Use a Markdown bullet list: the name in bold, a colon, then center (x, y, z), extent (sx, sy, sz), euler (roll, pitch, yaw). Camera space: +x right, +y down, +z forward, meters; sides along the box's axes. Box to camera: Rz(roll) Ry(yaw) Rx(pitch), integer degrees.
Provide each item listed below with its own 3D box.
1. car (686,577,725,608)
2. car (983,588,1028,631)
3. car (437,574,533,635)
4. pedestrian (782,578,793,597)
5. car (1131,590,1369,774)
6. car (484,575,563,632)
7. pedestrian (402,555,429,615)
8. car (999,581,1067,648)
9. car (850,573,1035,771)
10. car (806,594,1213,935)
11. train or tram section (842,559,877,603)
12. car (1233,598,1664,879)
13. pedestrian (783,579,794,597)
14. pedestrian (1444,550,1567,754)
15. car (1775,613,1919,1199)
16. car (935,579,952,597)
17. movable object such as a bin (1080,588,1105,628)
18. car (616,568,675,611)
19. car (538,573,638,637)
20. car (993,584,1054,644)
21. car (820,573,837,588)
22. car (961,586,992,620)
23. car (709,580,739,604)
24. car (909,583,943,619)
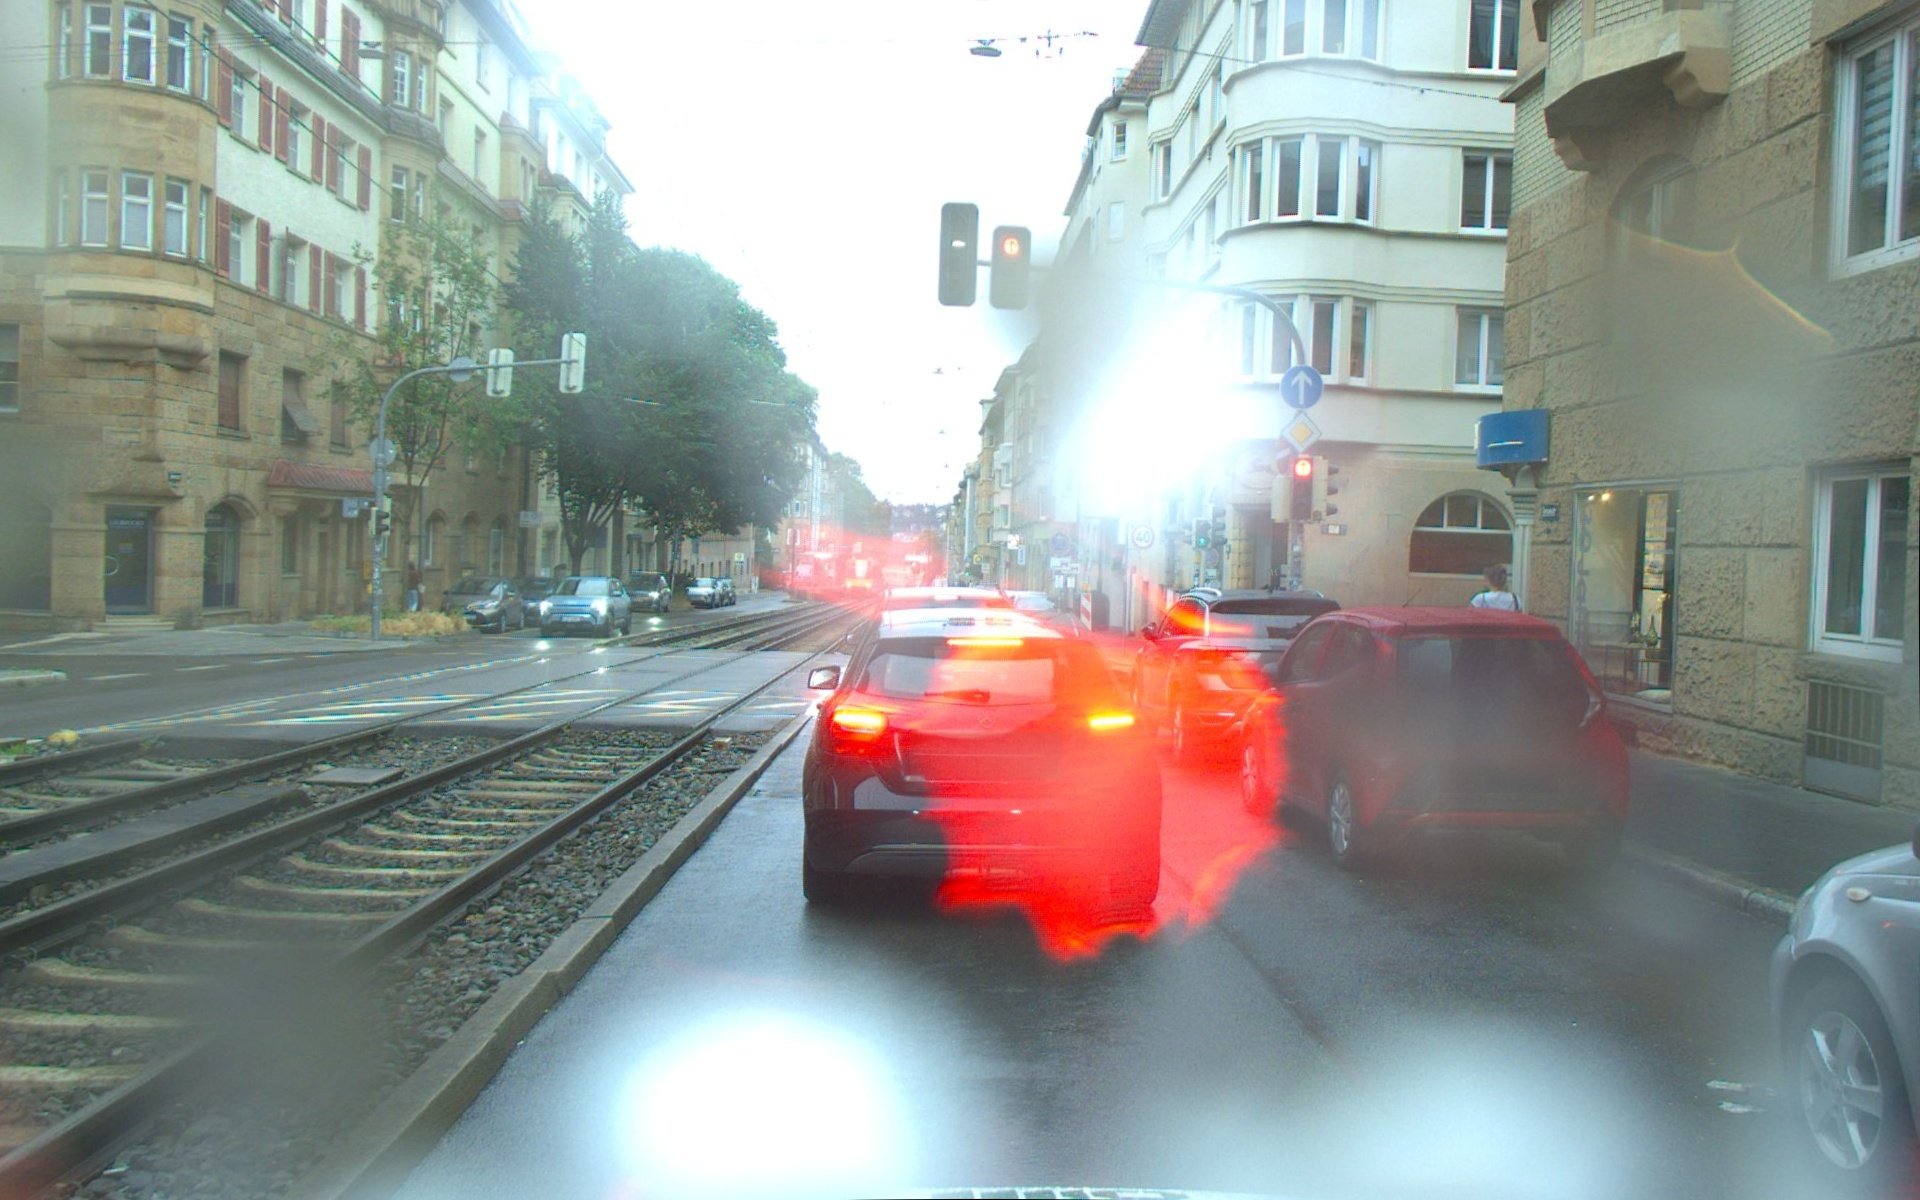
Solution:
- **car**: center (-13.660, -0.387, 88.958), extent (1.557, 1.608, 3.917), euler (1, 0, -1)
- **car**: center (1.662, 0.326, 61.541), extent (1.513, 1.512, 3.547), euler (1, 0, -1)
- **car**: center (-13.013, 0.123, 45.487), extent (1.718, 1.579, 4.032), euler (1, 0, -4)
- **pedestrian**: center (-18.949, -1.397, 181.500), extent (1.031, 1.992, 1.043), euler (2, 0, 0)
- **car**: center (2.631, 0.678, 15.789), extent (1.513, 1.512, 3.829), euler (1, 0, -1)
- **car**: center (-13.278, 0.105, 50.514), extent (1.683, 1.639, 3.914), euler (1, 0, -5)
- **pedestrian**: center (-15.711, -0.419, 47.735), extent (0.619, 1.702, 0.701), euler (1, -1, -10)
- **car**: center (1.838, 0.351, 42.659), extent (1.513, 1.618, 3.547), euler (1, 0, -1)
- **car**: center (-0.175, 0.617, 15.827), extent (1.533, 1.637, 3.813), euler (1, 0, -1)
- **car**: center (0.192, 0.732, 9.444), extent (1.792, 1.483, 4.103), euler (1, 0, -1)
- **train or tram section**: center (-9.434, -1.752, 156.506), extent (2.726, 3.928, 10.427), euler (1, 0, -1)
- **car**: center (2.907, 0.749, 10.553), extent (1.609, 1.473, 3.297), euler (1, 0, -3)
- **pedestrian**: center (-18.930, -1.337, 182.792), extent (1.031, 1.992, 1.043), euler (2, 0, 0)
- **pedestrian**: center (4.951, 0.455, 15.070), extent (0.726, 1.778, 1.111), euler (1, -1, -1)
- **car**: center (3.125, 0.789, 3.094), extent (1.581, 1.493, 3.312), euler (0, 0, 0)
- **car**: center (-1.915, -1.375, 190.996), extent (1.953, 1.909, 3.999), euler (1, 0, -1)
- **movable object such as a bin**: center (4.762, 0.304, 59.636), extent (0.859, 1.413, 0.983), euler (1, -1, 3)
- **car**: center (-13.564, -0.417, 71.497), extent (1.837, 1.767, 3.917), euler (1, 0, -1)
- **car**: center (-10.048, 0.141, 44.918), extent (1.860, 1.615, 3.972), euler (1, 0, -1)
- **car**: center (1.768, 0.377, 47.132), extent (1.513, 1.618, 3.547), euler (1, 0, -1)
- **car**: center (-12.125, -1.785, 152.742), extent (1.349, 1.271, 3.296), euler (1, 0, -2)
- **car**: center (0.721, 0.131, 73.599), extent (1.268, 1.467, 2.928), euler (1, 0, -1)
- **car**: center (-14.028, -0.443, 98.363), extent (1.419, 1.354, 3.270), euler (1, 0, -3)
- **car**: center (-1.612, 0.035, 79.830), extent (1.513, 1.664, 3.686), euler (1, 0, 0)
